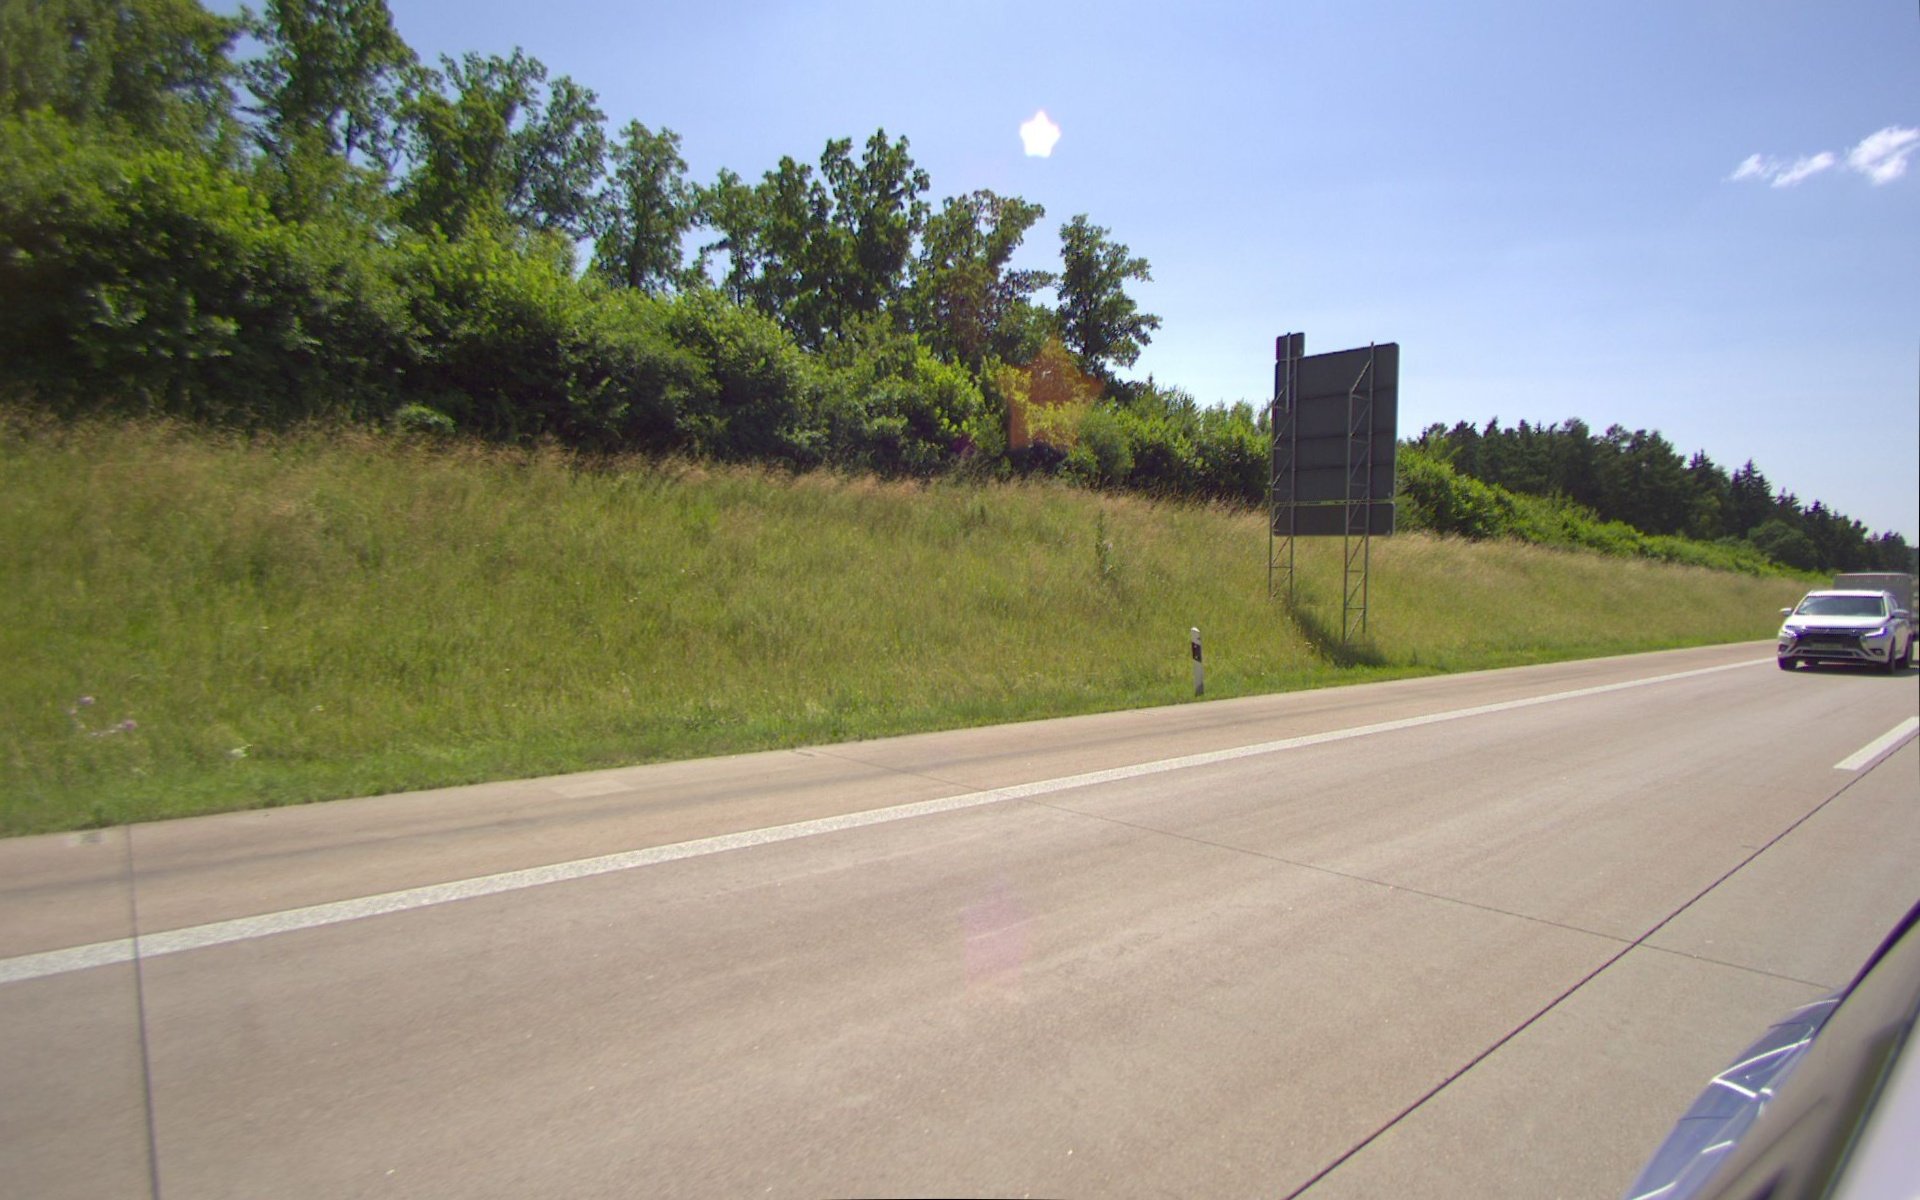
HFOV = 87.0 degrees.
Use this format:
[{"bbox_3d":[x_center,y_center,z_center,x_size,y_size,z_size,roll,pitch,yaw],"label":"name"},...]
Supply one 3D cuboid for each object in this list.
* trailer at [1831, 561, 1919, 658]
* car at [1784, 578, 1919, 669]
[{"bbox_3d":[22.699,0.216,24.741,3.947,2.191,1.660,0,0,-42],"label":"trailer"},{"bbox_3d":[19.376,0.429,21.739,5.098,1.750,1.893,0,1,-43],"label":"car"}]
